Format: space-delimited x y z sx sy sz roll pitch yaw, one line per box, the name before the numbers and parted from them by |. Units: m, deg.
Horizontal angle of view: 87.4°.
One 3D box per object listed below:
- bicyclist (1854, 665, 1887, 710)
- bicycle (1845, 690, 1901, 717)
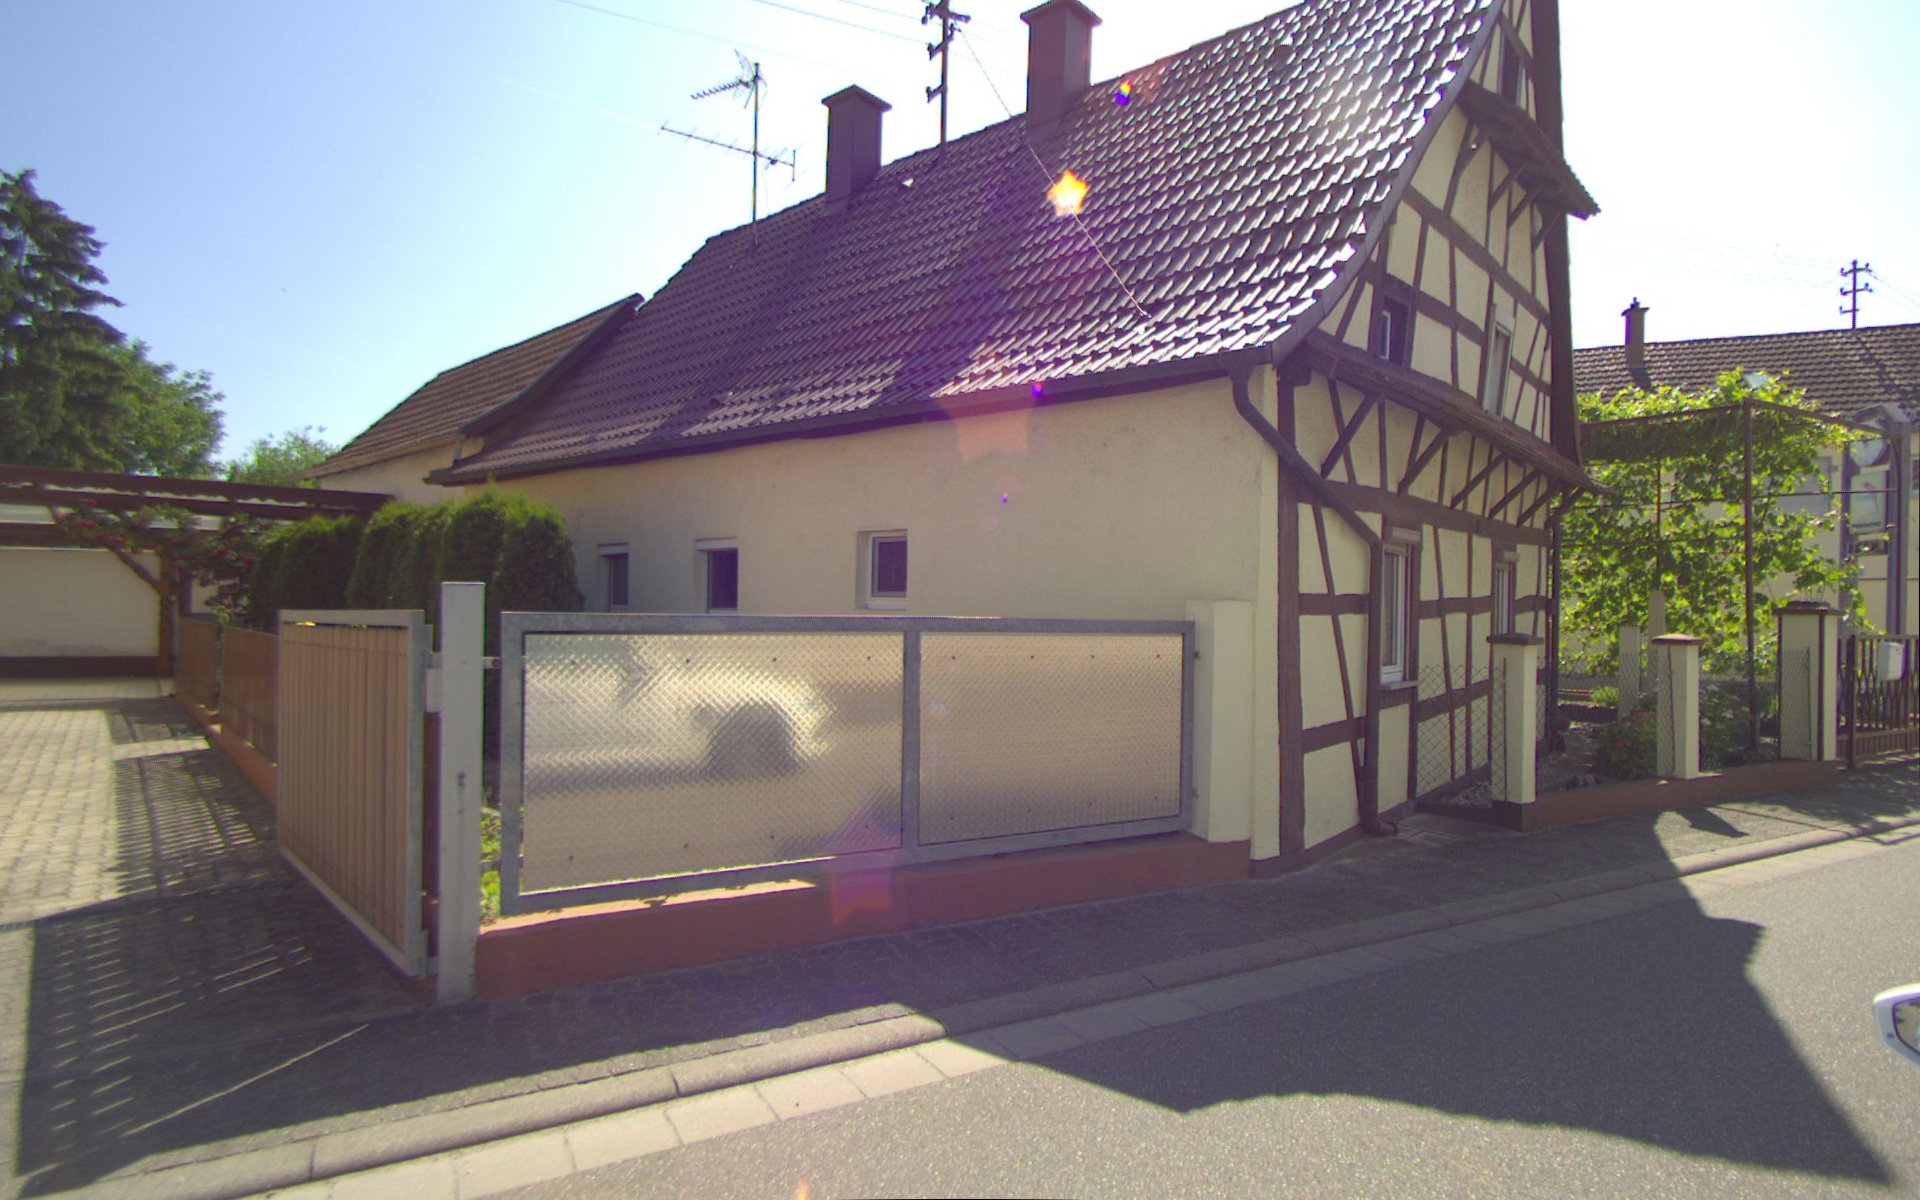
bicyclist | 12.323 1.179 13.596 0.215 0.590 0.246 2 0 -14
bicycle | 12.318 1.395 13.563 0.216 0.309 0.534 1 -1 -14
